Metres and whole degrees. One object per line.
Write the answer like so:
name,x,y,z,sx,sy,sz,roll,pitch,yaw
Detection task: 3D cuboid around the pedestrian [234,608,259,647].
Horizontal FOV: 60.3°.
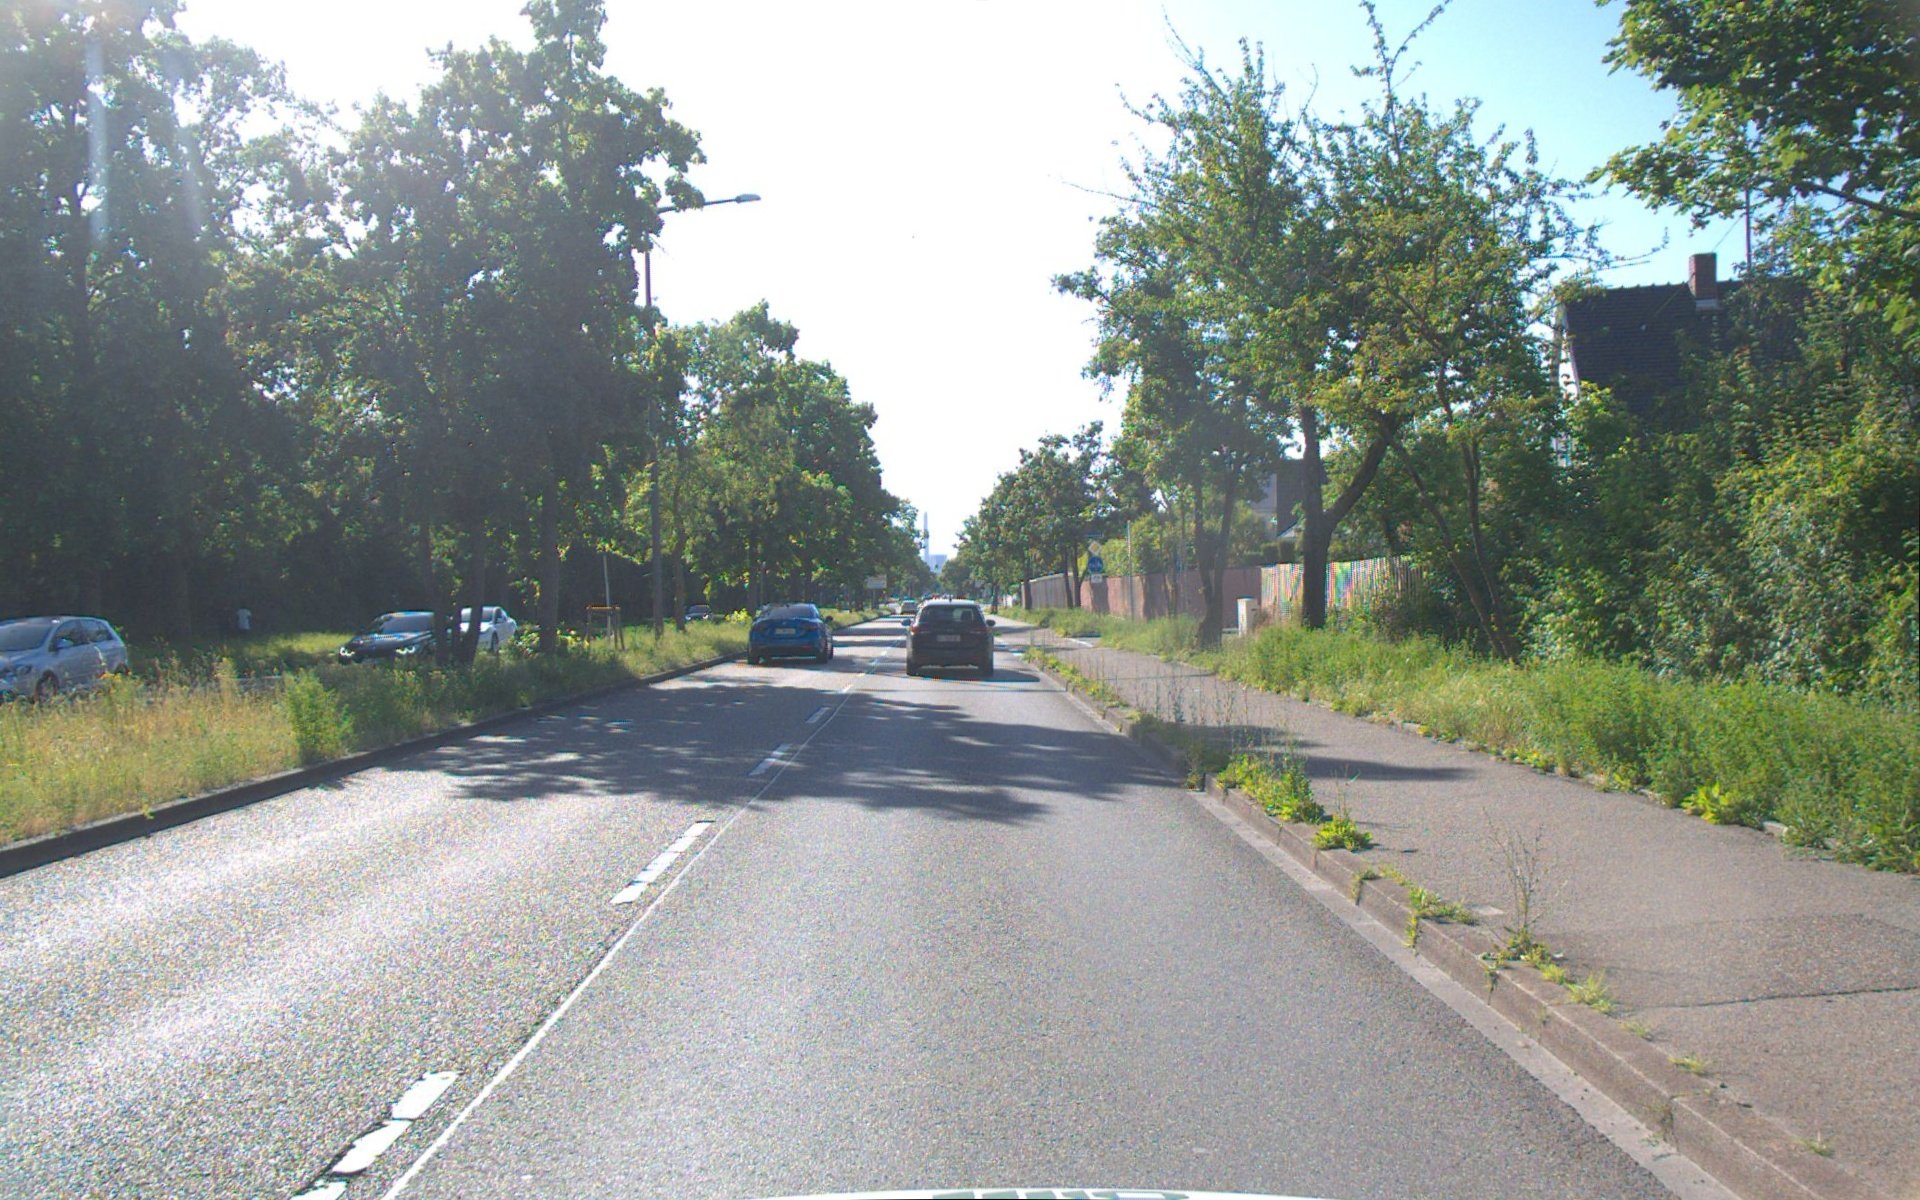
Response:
pedestrian,-27.580,1.064,63.966,0.533,1.485,0.917,-1,0,-1

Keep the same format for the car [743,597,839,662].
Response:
car,-4.023,0.679,39.956,1.954,1.429,3.999,-1,0,-2

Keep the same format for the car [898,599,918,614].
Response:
car,-5.588,0.647,176.136,1.939,1.465,3.997,-1,1,-4

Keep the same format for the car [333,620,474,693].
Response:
car,-12.143,1.196,36.365,1.667,1.419,4.250,-1,0,0

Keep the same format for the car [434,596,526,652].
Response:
car,-16.399,0.790,56.698,1.804,1.616,4.583,-7,1,-2

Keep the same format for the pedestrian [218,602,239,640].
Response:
pedestrian,-28.327,0.807,64.036,0.533,1.485,0.596,0,0,-1

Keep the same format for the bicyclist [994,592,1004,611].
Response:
bicyclist,2.904,0.101,123.202,0.666,1.443,0.812,-1,0,-1

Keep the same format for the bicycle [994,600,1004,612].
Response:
bicycle,2.913,0.436,122.876,0.642,0.908,1.874,-1,0,-1

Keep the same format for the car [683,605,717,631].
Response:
car,-17.259,1.169,110.003,1.680,1.531,3.016,-3,1,0

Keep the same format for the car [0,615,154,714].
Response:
car,-15.674,1.072,28.344,1.678,1.498,4.064,-3,0,0

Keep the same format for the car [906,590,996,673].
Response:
car,-0.156,0.610,33.740,1.724,1.586,4.000,0,0,0
